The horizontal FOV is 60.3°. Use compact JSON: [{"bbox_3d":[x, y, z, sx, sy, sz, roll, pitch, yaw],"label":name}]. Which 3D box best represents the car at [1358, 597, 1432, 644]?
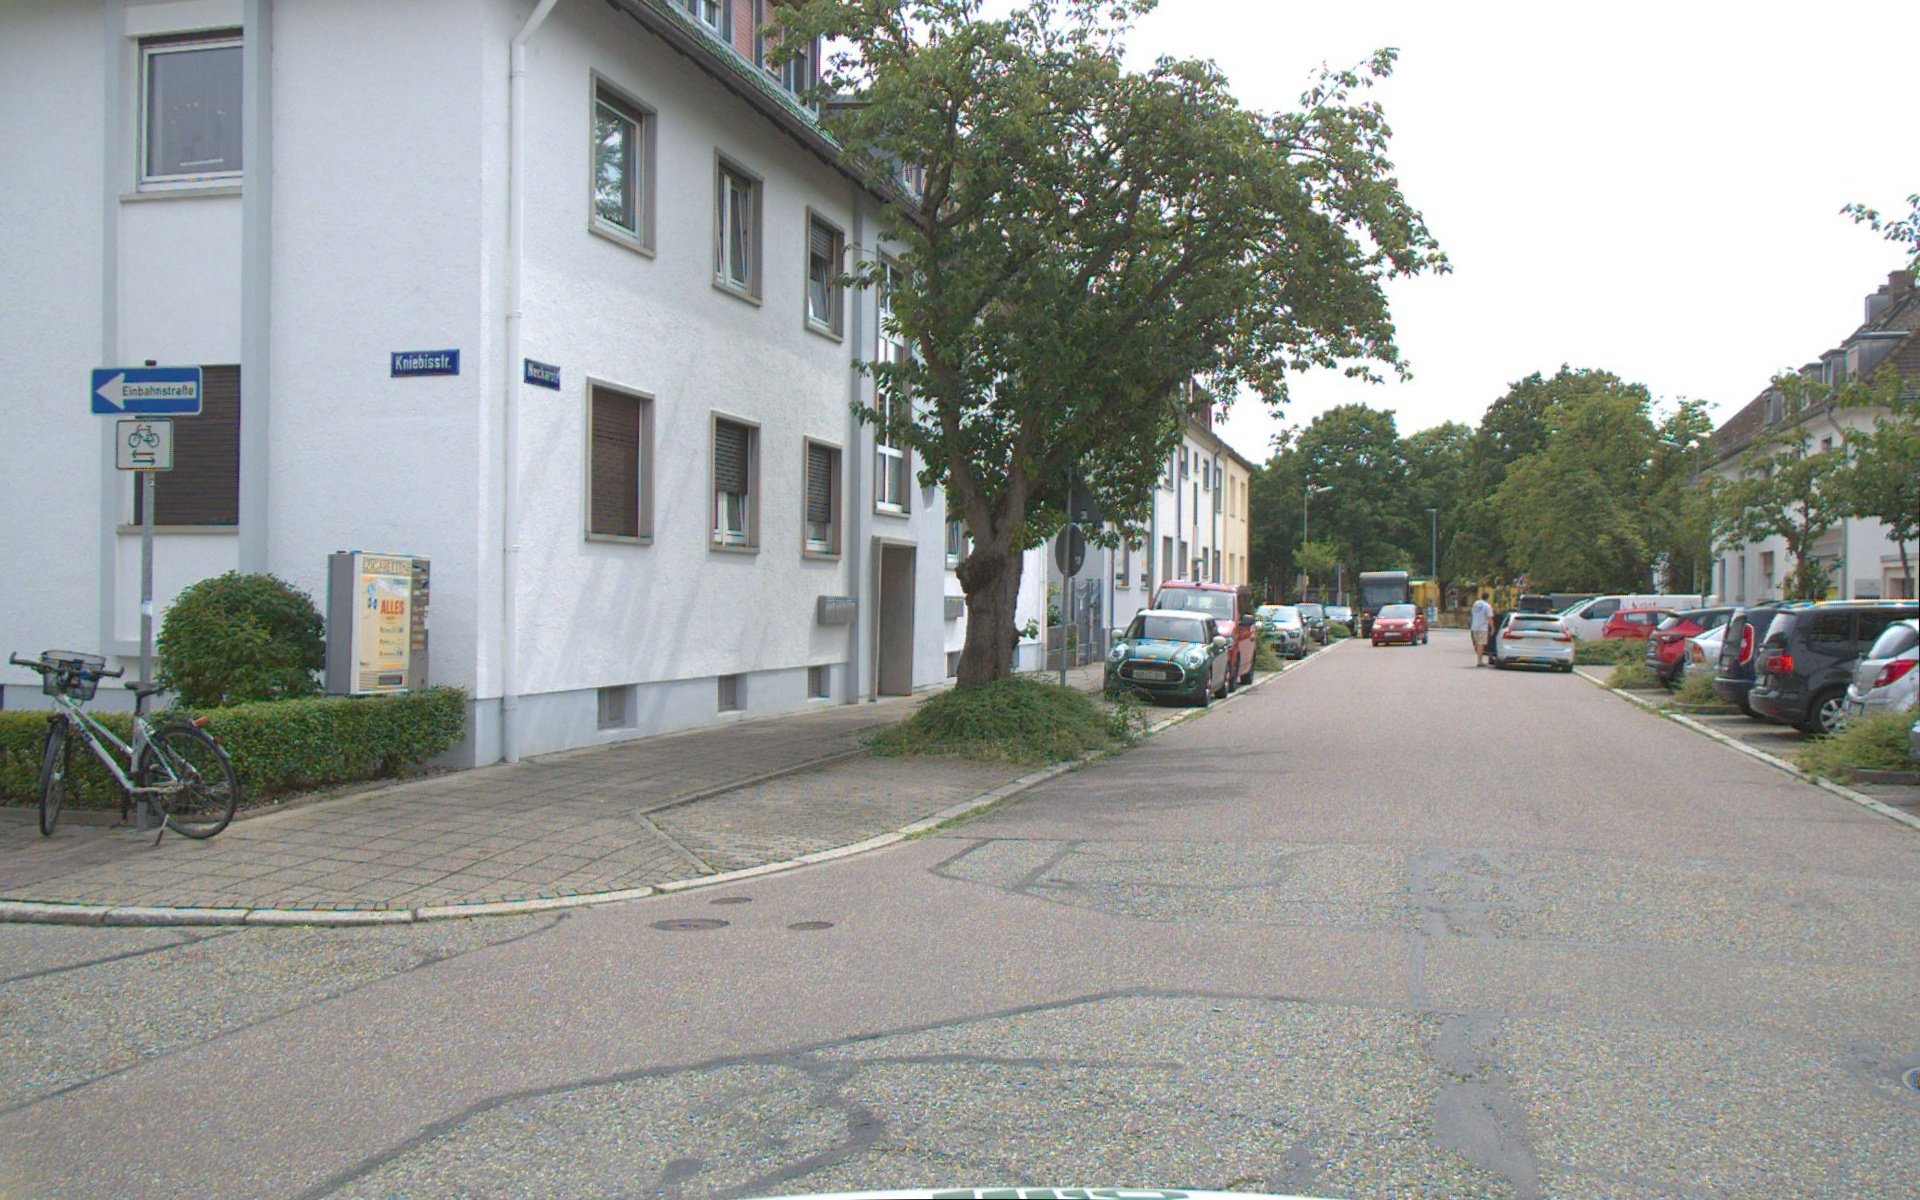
[{"bbox_3d":[16.136,0.726,61.281,1.954,1.646,3.997,-2,0,25],"label":"car"}]

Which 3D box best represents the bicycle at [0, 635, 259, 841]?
[{"bbox_3d":[-5.122,0.831,10.066,1.598,1.200,0.435,-1,-1,12],"label":"bicycle"}]

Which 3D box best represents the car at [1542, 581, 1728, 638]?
[{"bbox_3d":[19.939,0.293,49.059,4.869,1.545,1.770,-2,-1,14],"label":"car"}]

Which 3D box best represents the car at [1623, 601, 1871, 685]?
[{"bbox_3d":[14.539,0.792,30.777,3.902,1.464,1.724,-2,-1,16],"label":"car"}]

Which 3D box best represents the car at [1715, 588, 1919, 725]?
[{"bbox_3d":[11.387,0.658,20.226,3.668,1.592,1.774,-2,-1,17],"label":"car"}]

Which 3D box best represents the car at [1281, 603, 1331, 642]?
[{"bbox_3d":[13.160,0.831,62.732,1.616,1.401,3.724,-2,0,15],"label":"car"}]

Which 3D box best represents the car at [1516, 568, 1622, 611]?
[{"bbox_3d":[22.042,-0.376,59.984,3.455,1.450,1.599,-2,0,17],"label":"car"}]

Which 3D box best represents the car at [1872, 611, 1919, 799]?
[{"bbox_3d":[9.224,0.778,12.857,3.443,1.437,1.559,-2,-1,16],"label":"car"}]

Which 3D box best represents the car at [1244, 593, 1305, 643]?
[{"bbox_3d":[9.455,0.527,49.578,1.616,1.401,3.725,-1,0,13],"label":"car"}]

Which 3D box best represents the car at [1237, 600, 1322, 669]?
[{"bbox_3d":[7.371,0.761,37.984,1.616,1.487,3.555,-2,0,15],"label":"car"}]

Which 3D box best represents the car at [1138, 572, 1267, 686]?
[{"bbox_3d":[4.825,0.524,32.409,1.951,2.049,4.524,0,0,15],"label":"car"}]

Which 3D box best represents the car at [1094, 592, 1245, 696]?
[{"bbox_3d":[3.532,0.689,27.363,1.726,1.581,3.732,-2,0,19],"label":"car"}]

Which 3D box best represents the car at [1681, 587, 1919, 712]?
[{"bbox_3d":[12.339,0.665,23.108,3.903,1.646,1.868,-2,-1,17],"label":"car"}]

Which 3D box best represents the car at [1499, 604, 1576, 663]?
[{"bbox_3d":[14.603,0.825,41.980,1.651,1.378,3.828,-2,0,17],"label":"car"}]

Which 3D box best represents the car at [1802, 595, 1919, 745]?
[{"bbox_3d":[11.334,0.699,17.630,3.902,1.545,1.724,-2,-1,16],"label":"car"}]

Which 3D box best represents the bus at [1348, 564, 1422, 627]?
[{"bbox_3d":[20.639,-0.202,79.940,2.941,2.809,8.928,-2,0,18],"label":"bus"}]

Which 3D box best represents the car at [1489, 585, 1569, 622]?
[{"bbox_3d":[26.626,0.174,77.522,3.455,1.630,1.774,-2,-1,17],"label":"car"}]

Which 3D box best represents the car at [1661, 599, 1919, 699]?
[{"bbox_3d":[13.904,0.814,27.525,3.902,1.545,1.724,-2,-1,16],"label":"car"}]

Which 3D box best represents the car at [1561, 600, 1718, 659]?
[{"bbox_3d":[19.140,0.826,46.744,3.902,1.545,1.724,-2,-1,16],"label":"car"}]

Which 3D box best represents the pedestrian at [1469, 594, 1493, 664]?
[{"bbox_3d":[13.018,0.725,41.338,0.511,1.734,0.445,-2,-1,19],"label":"pedestrian"}]

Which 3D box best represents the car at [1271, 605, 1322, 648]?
[{"bbox_3d":[11.088,0.866,54.376,1.506,1.324,3.725,-1,0,13],"label":"car"}]
